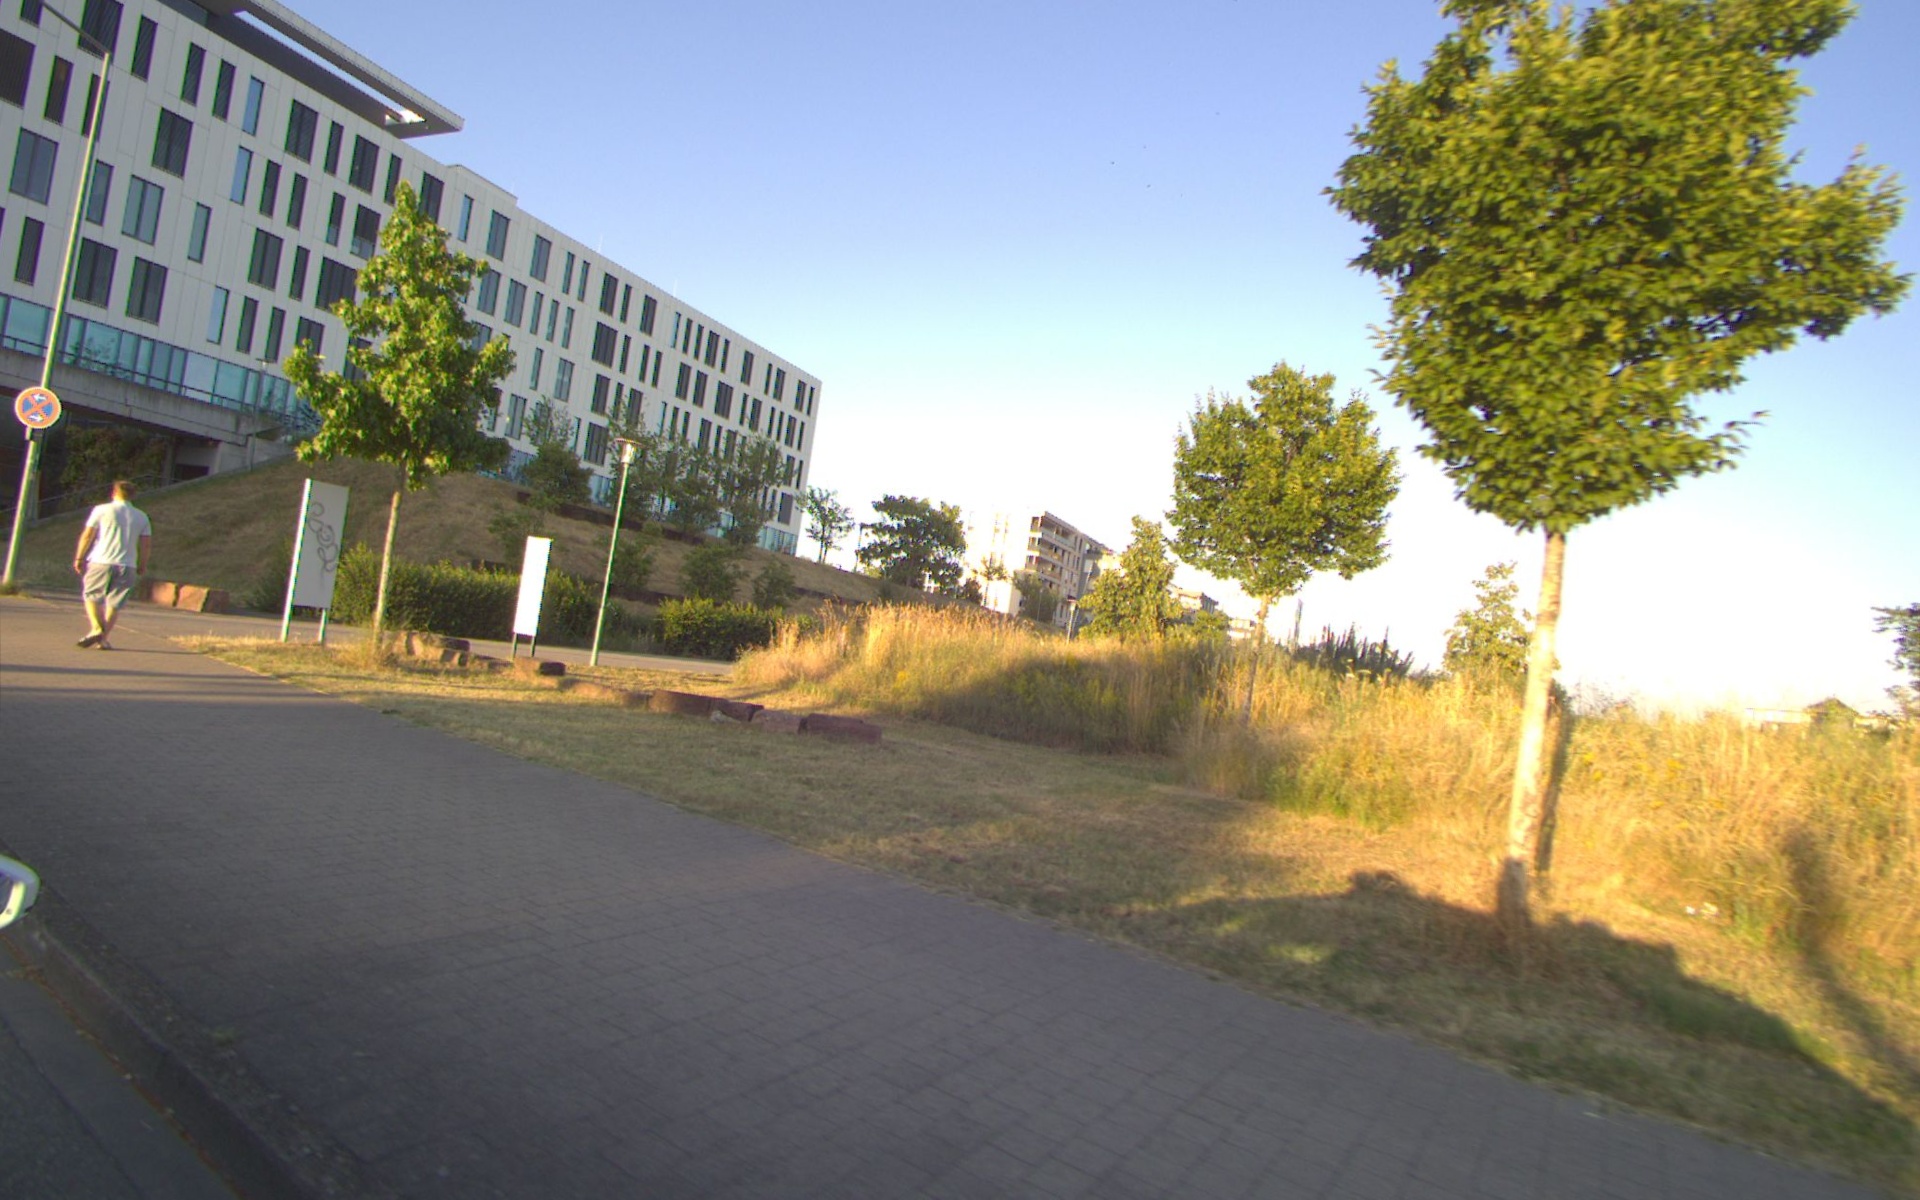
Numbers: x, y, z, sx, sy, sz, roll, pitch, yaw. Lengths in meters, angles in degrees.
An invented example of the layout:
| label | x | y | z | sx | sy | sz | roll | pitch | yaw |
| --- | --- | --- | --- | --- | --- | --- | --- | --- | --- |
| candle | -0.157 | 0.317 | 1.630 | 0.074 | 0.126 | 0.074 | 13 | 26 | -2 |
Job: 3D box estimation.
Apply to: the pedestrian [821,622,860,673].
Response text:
| label | x | y | z | sx | sy | sz | roll | pitch | yaw |
| --- | --- | --- | --- | --- | --- | --- | --- | --- | --- |
| pedestrian | -3.733 | 1.485 | 31.409 | 0.752 | 1.476 | 0.710 | 8 | -2 | 23 |

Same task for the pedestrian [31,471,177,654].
| label | x | y | z | sx | sy | sz | roll | pitch | yaw |
| --- | --- | --- | --- | --- | --- | --- | --- | --- | --- |
| pedestrian | -9.026 | -0.389 | 10.622 | 0.805 | 1.787 | 0.832 | 6 | -1 | 34 |
